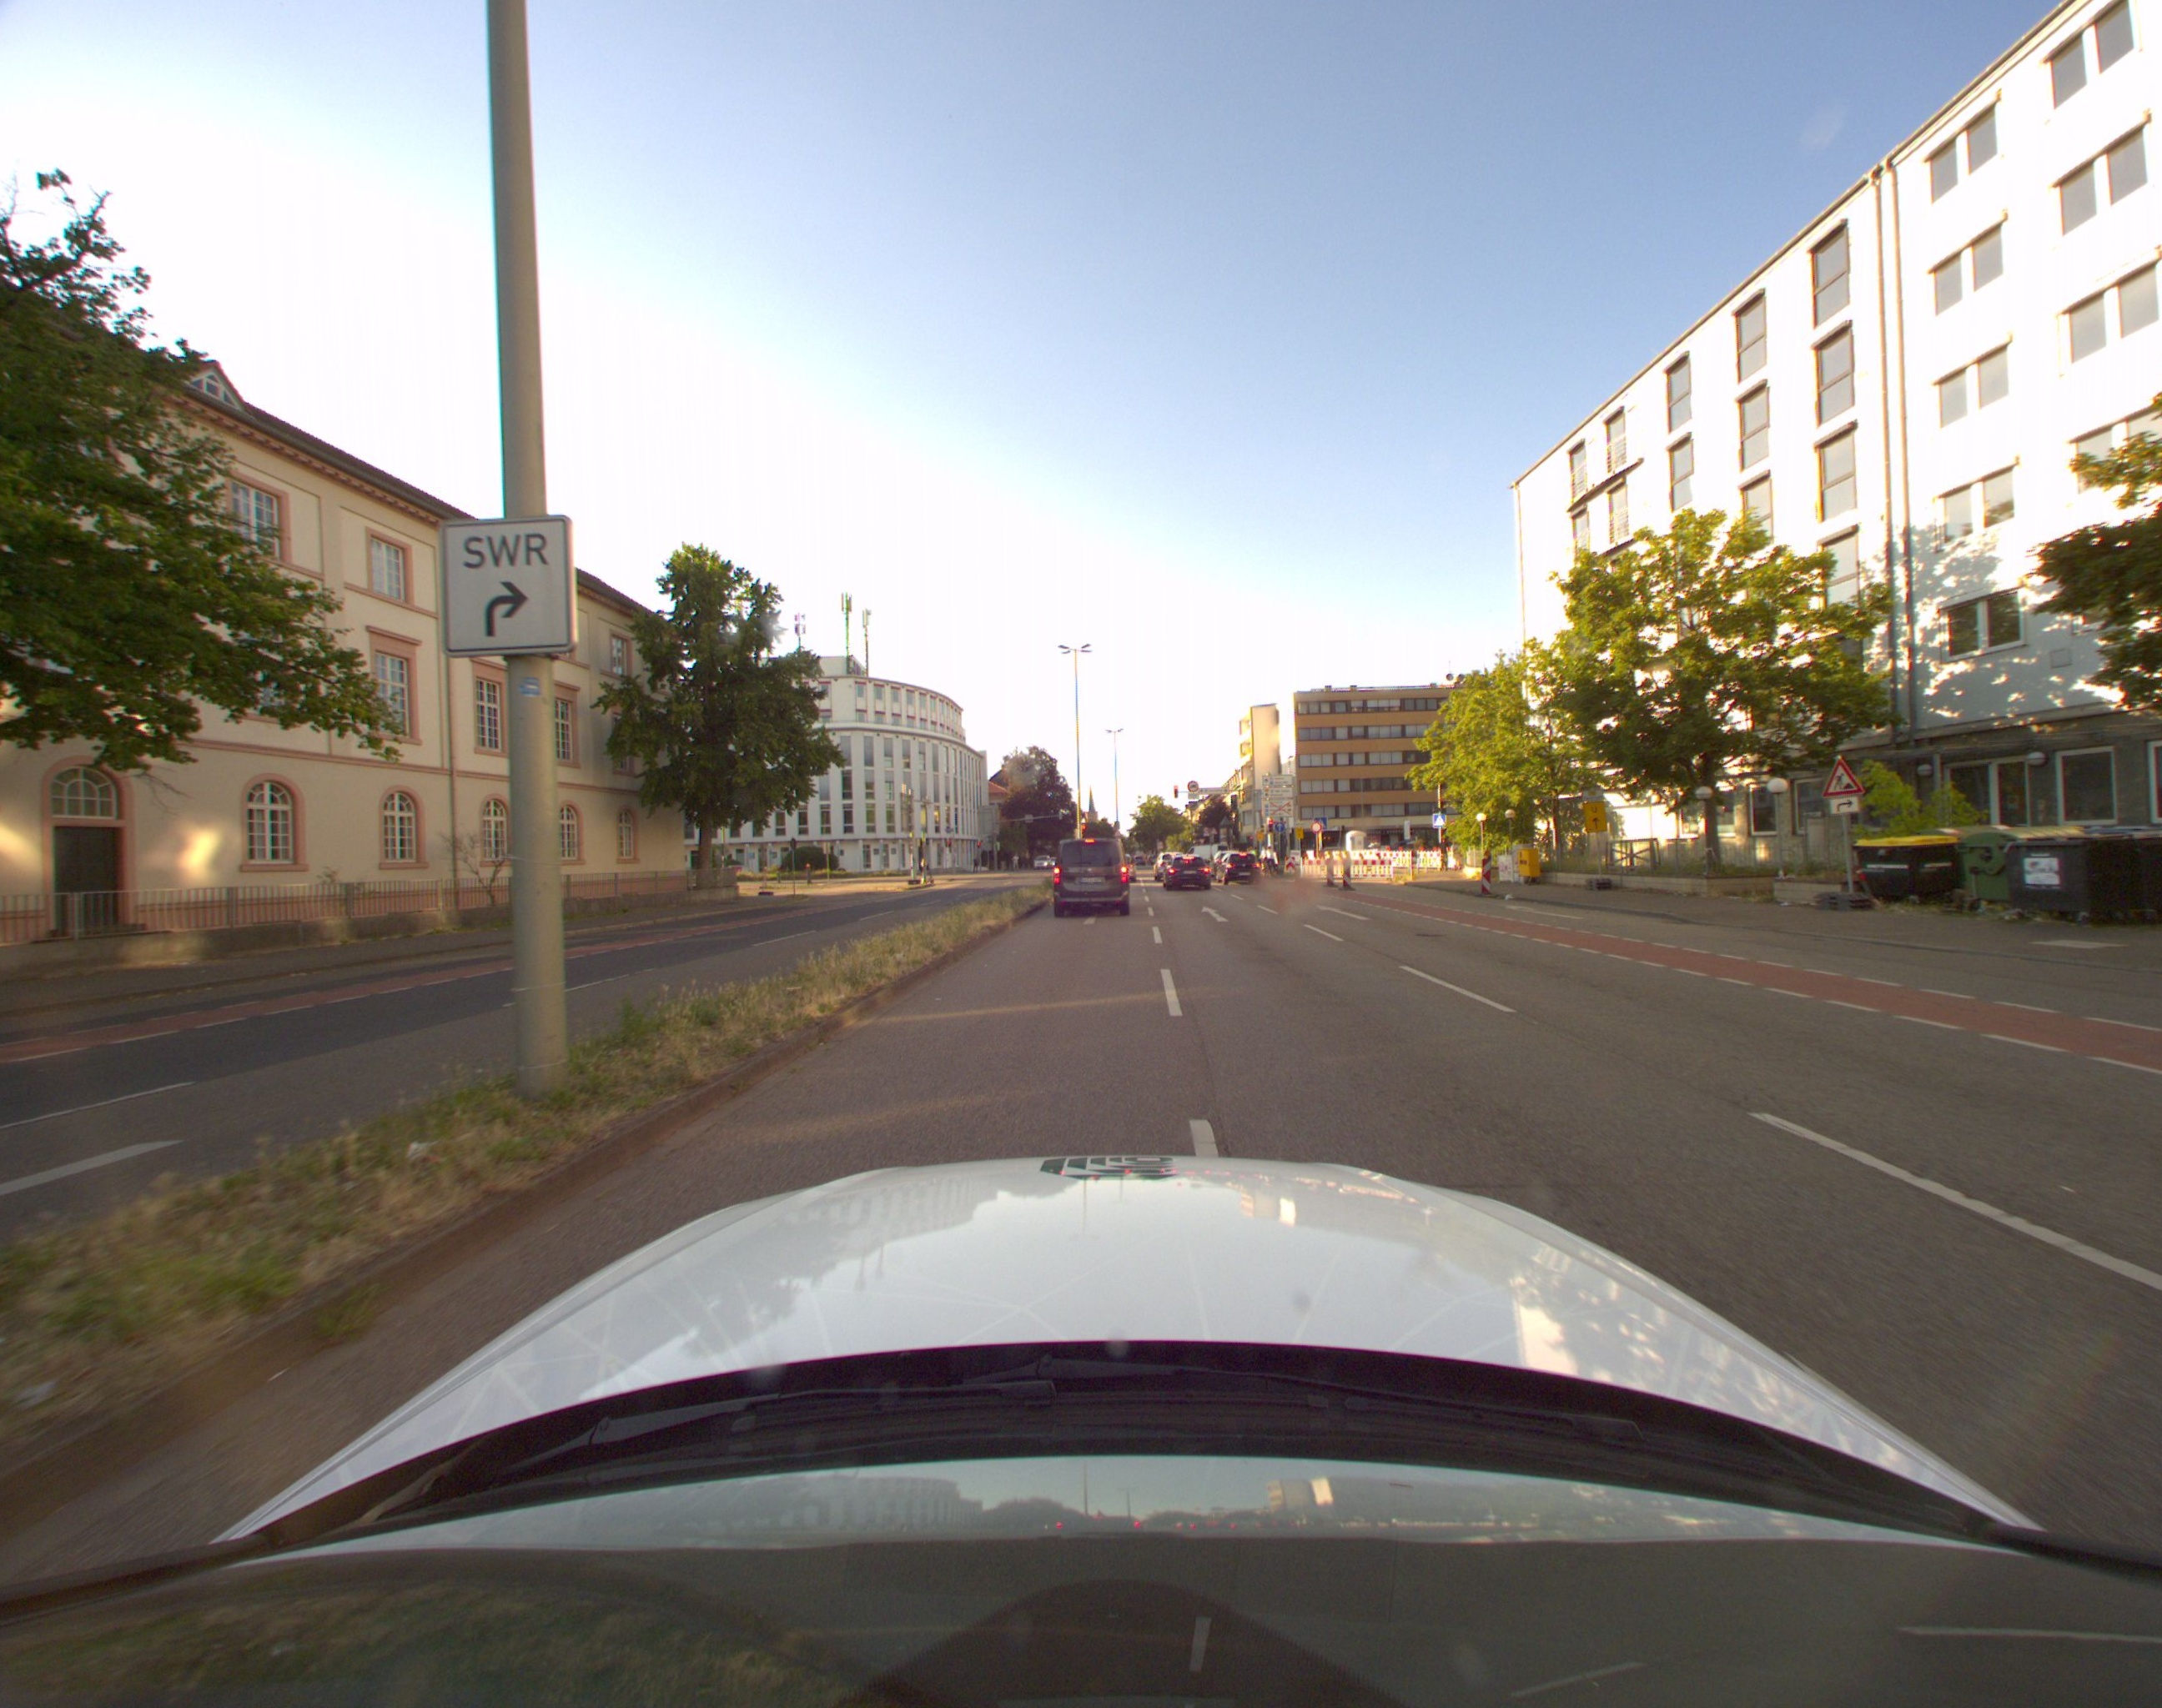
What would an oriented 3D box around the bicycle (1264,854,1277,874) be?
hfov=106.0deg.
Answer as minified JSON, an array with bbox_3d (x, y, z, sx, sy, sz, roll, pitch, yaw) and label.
[{"bbox_3d":[10.162,0.517,43.634,0.335,1.008,1.857,-2,0,3],"label":"bicycle"}]

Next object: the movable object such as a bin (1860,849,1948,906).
[{"bbox_3d":[16.007,0.446,15.863,0.848,1.045,0.819,-2,0,-2],"label":"movable object such as a bin"}]

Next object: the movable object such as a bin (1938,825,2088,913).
[{"bbox_3d":[16.223,0.246,14.216,1.344,1.424,1.105,-2,0,-2],"label":"movable object such as a bin"}]

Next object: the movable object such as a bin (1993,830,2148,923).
[{"bbox_3d":[15.267,0.332,12.605,0.950,1.328,1.162,-2,0,0],"label":"movable object such as a bin"}]

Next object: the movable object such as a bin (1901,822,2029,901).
[{"bbox_3d":[17.630,0.143,16.279,1.344,1.461,1.105,-2,0,-2],"label":"movable object such as a bin"}]

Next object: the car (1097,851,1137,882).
[{"bbox_3d":[1.912,0.619,43.174,1.985,1.530,4.003,-2,0,3],"label":"car"}]

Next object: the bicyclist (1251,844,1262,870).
[{"bbox_3d":[10.512,0.200,48.784,0.511,1.525,0.726,-2,0,3],"label":"bicyclist"}]

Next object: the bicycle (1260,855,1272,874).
[{"bbox_3d":[10.386,0.565,45.765,0.335,1.008,1.857,-2,0,3],"label":"bicycle"}]

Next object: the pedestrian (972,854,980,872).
[{"bbox_3d":[-10.425,0.883,80.745,0.626,1.722,0.669,-2,0,-11],"label":"pedestrian"}]

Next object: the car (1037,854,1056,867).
[{"bbox_3d":[-4.109,0.785,97.505,1.849,1.420,4.001,-2,0,1],"label":"car"}]

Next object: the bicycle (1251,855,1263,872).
[{"bbox_3d":[10.531,0.553,48.735,0.335,1.008,1.857,-2,0,3],"label":"bicycle"}]

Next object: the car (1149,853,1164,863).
[{"bbox_3d":[11.112,0.640,119.611,1.897,1.372,4.001,-2,0,1],"label":"car"}]

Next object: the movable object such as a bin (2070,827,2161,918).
[{"bbox_3d":[16.386,0.255,12.499,0.950,1.328,1.162,-2,0,0],"label":"movable object such as a bin"}]

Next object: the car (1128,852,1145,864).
[{"bbox_3d":[8.074,0.563,118.441,1.988,1.662,3.997,-2,0,-2],"label":"car"}]

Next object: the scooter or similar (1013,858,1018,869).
[{"bbox_3d":[-7.042,1.044,87.738,0.284,1.188,1.170,-2,0,3],"label":"scooter or similar"}]

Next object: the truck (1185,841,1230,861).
[{"bbox_3d":[14.093,-0.292,90.635,2.147,2.086,4.575,-2,0,-43],"label":"truck"}]

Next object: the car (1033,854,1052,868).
[{"bbox_3d":[-4.319,0.774,91.685,1.849,1.420,4.001,-2,0,1],"label":"car"}]

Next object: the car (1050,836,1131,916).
[{"bbox_3d":[0.337,0.519,21.445,1.899,1.863,4.530,-1,0,3],"label":"car"}]

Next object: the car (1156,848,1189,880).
[{"bbox_3d":[4.878,0.516,43.739,1.522,1.613,3.748,-1,0,3],"label":"car"}]

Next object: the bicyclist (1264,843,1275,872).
[{"bbox_3d":[10.098,0.166,43.617,0.439,1.525,0.483,-2,0,3],"label":"bicyclist"}]

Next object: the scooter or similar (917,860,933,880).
[{"bbox_3d":[-9.944,1.027,51.935,0.892,1.234,0.370,-2,0,-9],"label":"scooter or similar"}]

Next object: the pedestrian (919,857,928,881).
[{"bbox_3d":[-10.045,0.935,52.020,0.474,1.505,0.334,-2,0,-9],"label":"pedestrian"}]

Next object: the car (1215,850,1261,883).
[{"bbox_3d":[7.357,0.567,38.359,1.627,1.449,3.748,-1,0,3],"label":"car"}]

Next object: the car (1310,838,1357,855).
[{"bbox_3d":[24.509,-0.720,79.019,3.979,1.420,1.785,-2,0,-4],"label":"car"}]

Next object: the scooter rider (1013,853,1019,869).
[{"bbox_3d":[-7.010,0.710,87.848,0.479,1.697,0.637,-2,0,3],"label":"scooter rider"}]

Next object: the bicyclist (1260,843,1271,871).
[{"bbox_3d":[10.384,0.179,45.848,0.439,1.525,0.726,-2,0,3],"label":"bicyclist"}]

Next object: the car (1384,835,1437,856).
[{"bbox_3d":[31.231,-0.837,77.185,4.198,1.817,2.002,-2,0,3],"label":"car"}]

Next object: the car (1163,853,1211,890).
[{"bbox_3d":[4.333,0.664,33.820,1.675,1.421,4.217,-1,0,3],"label":"car"}]

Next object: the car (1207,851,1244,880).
[{"bbox_3d":[7.808,0.598,44.195,1.498,1.449,3.307,-2,0,3],"label":"car"}]
